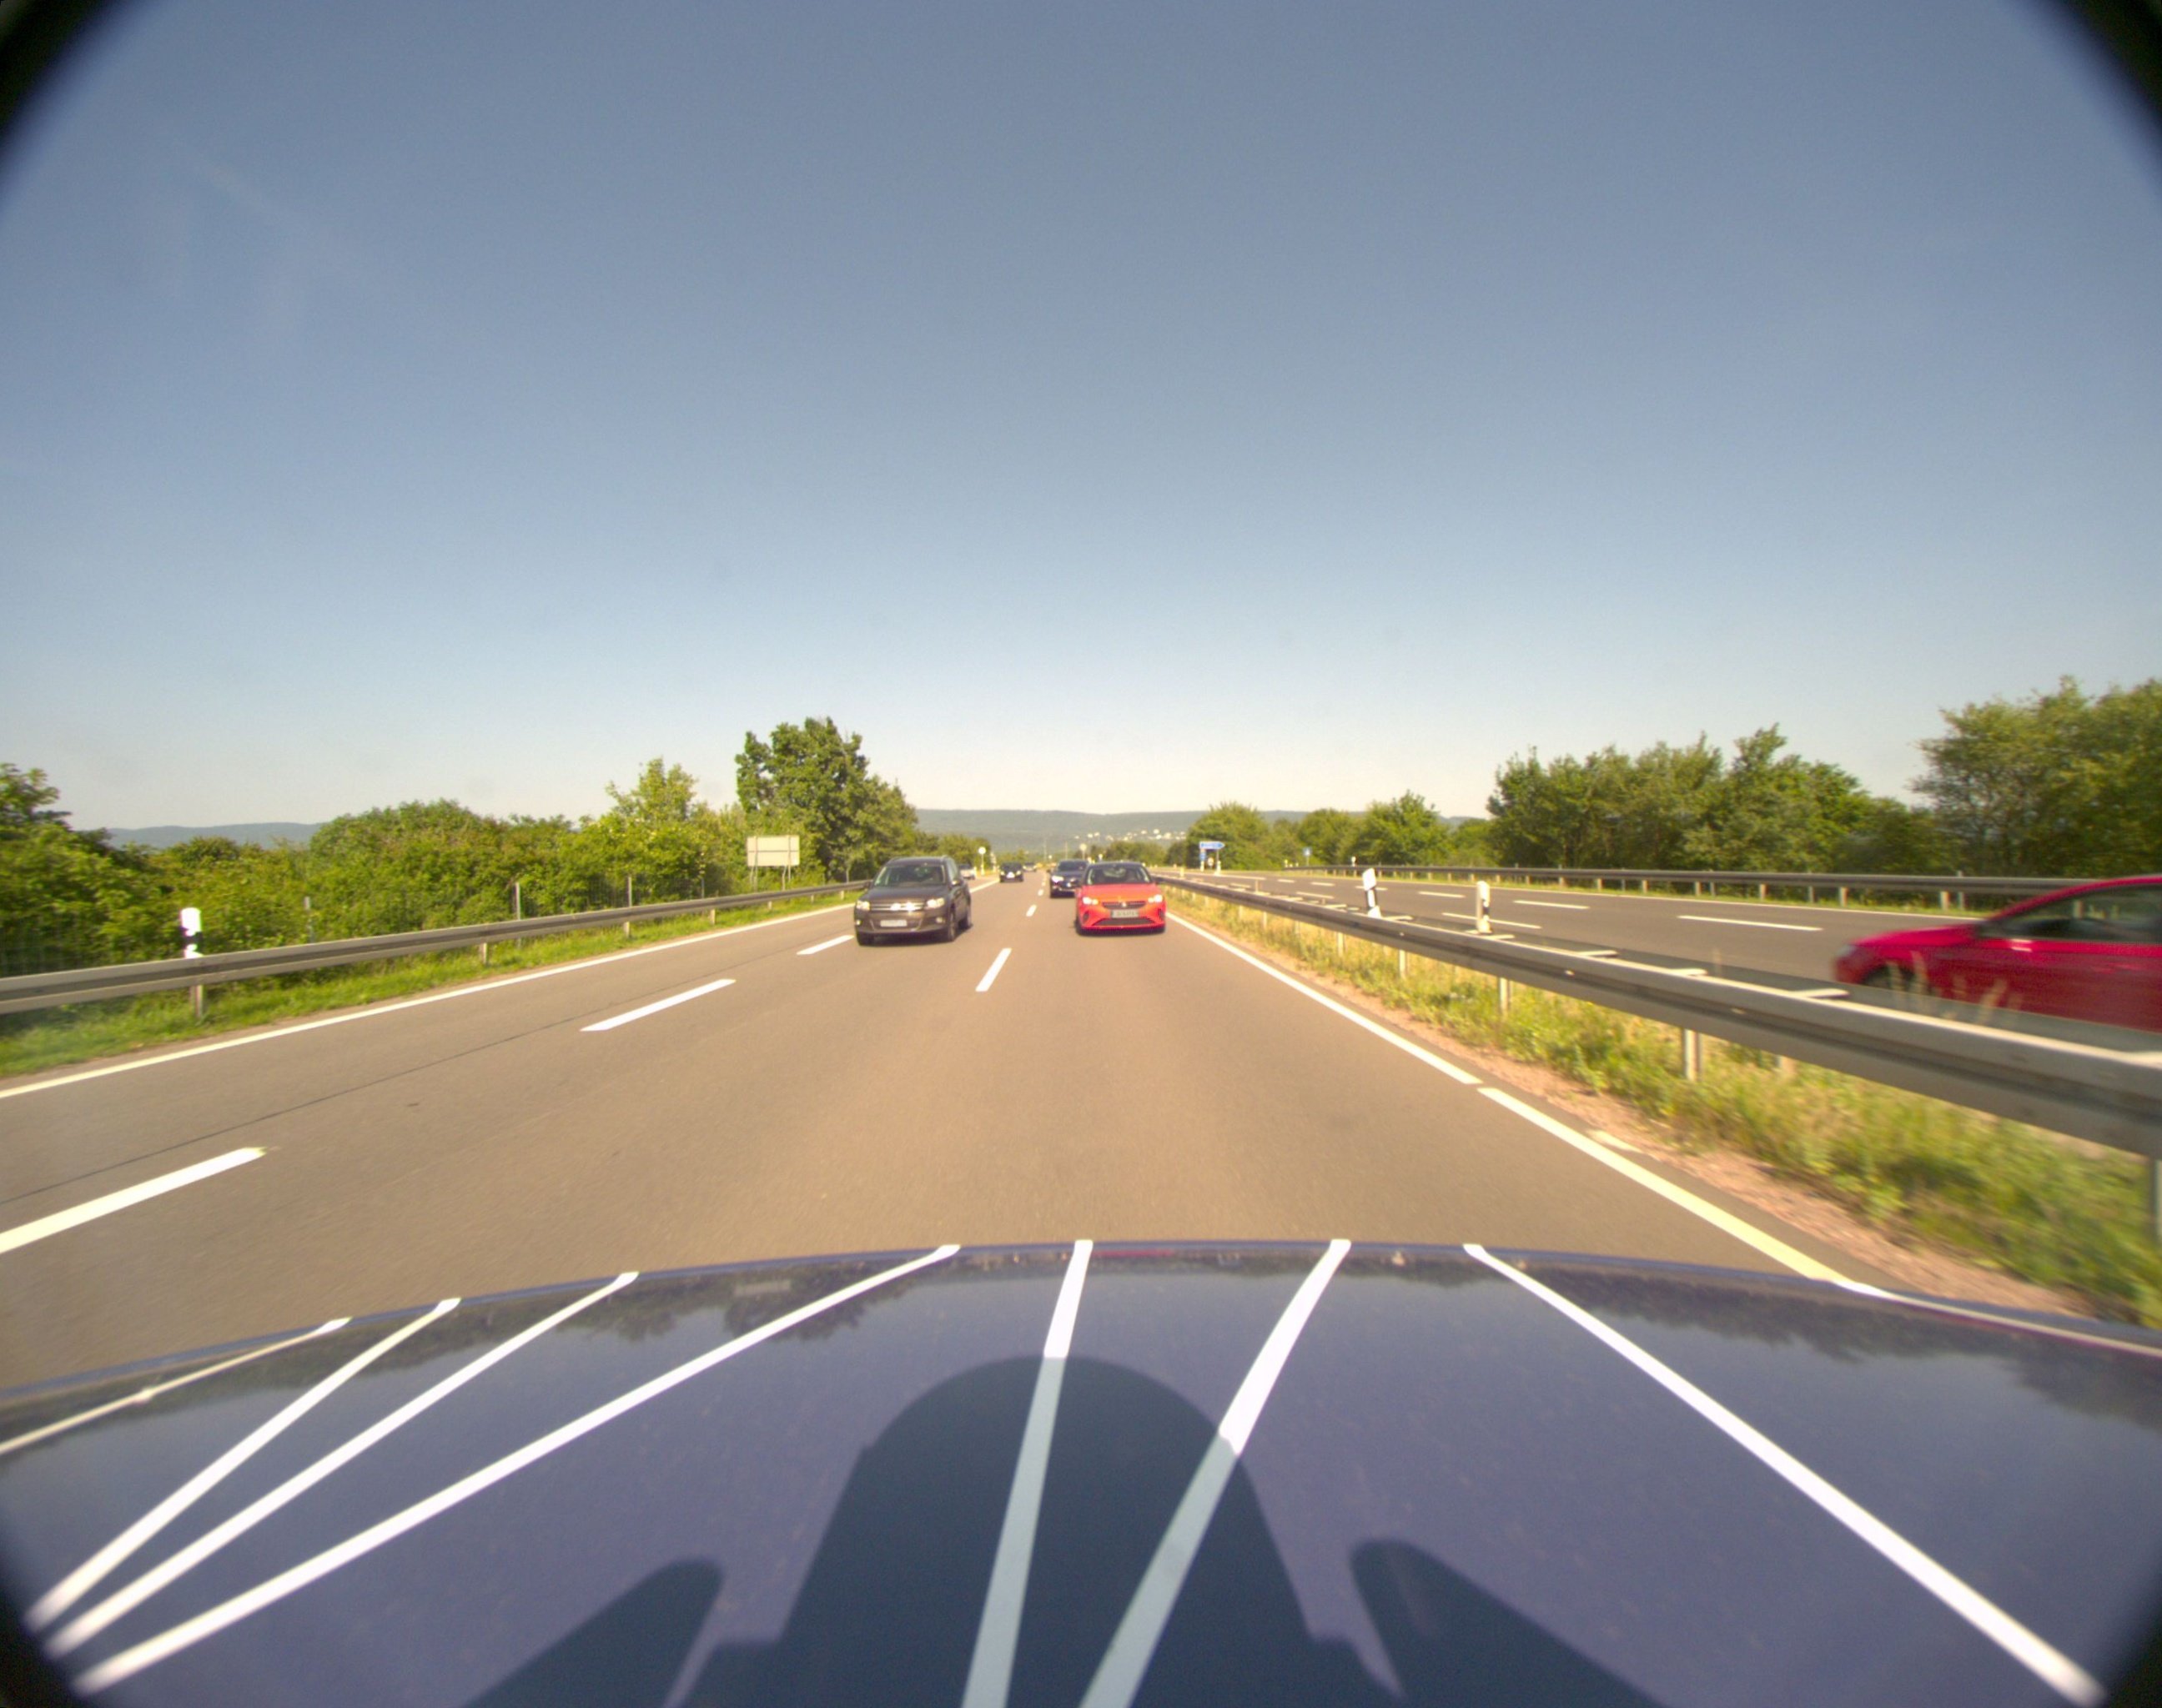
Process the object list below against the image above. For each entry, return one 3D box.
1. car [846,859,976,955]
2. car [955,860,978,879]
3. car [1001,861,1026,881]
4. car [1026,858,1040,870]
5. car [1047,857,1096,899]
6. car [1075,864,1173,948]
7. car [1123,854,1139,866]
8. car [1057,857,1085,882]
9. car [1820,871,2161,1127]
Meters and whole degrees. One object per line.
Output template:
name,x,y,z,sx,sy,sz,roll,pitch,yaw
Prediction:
car,-3.345,0.967,15.771,1.790,1.637,4.147,-2,0,-1
car,-10.988,1.492,72.454,1.866,1.656,3.996,-3,0,-12
car,-4.769,1.192,54.011,1.601,1.241,3.999,-2,0,-3
car,-6.817,1.418,107.755,1.769,1.652,3.998,-2,0,-5
car,-0.358,0.924,30.457,1.788,1.524,4.375,-2,-1,0
car,0.786,0.991,16.275,1.713,1.428,4.411,-2,0,-1
car,7.092,0.825,108.257,1.647,1.565,4.263,-2,0,-3
car,-0.660,0.945,47.749,1.652,1.403,3.774,-2,1,-1
car,7.577,0.934,4.740,1.715,1.477,4.265,-2,0,-1
